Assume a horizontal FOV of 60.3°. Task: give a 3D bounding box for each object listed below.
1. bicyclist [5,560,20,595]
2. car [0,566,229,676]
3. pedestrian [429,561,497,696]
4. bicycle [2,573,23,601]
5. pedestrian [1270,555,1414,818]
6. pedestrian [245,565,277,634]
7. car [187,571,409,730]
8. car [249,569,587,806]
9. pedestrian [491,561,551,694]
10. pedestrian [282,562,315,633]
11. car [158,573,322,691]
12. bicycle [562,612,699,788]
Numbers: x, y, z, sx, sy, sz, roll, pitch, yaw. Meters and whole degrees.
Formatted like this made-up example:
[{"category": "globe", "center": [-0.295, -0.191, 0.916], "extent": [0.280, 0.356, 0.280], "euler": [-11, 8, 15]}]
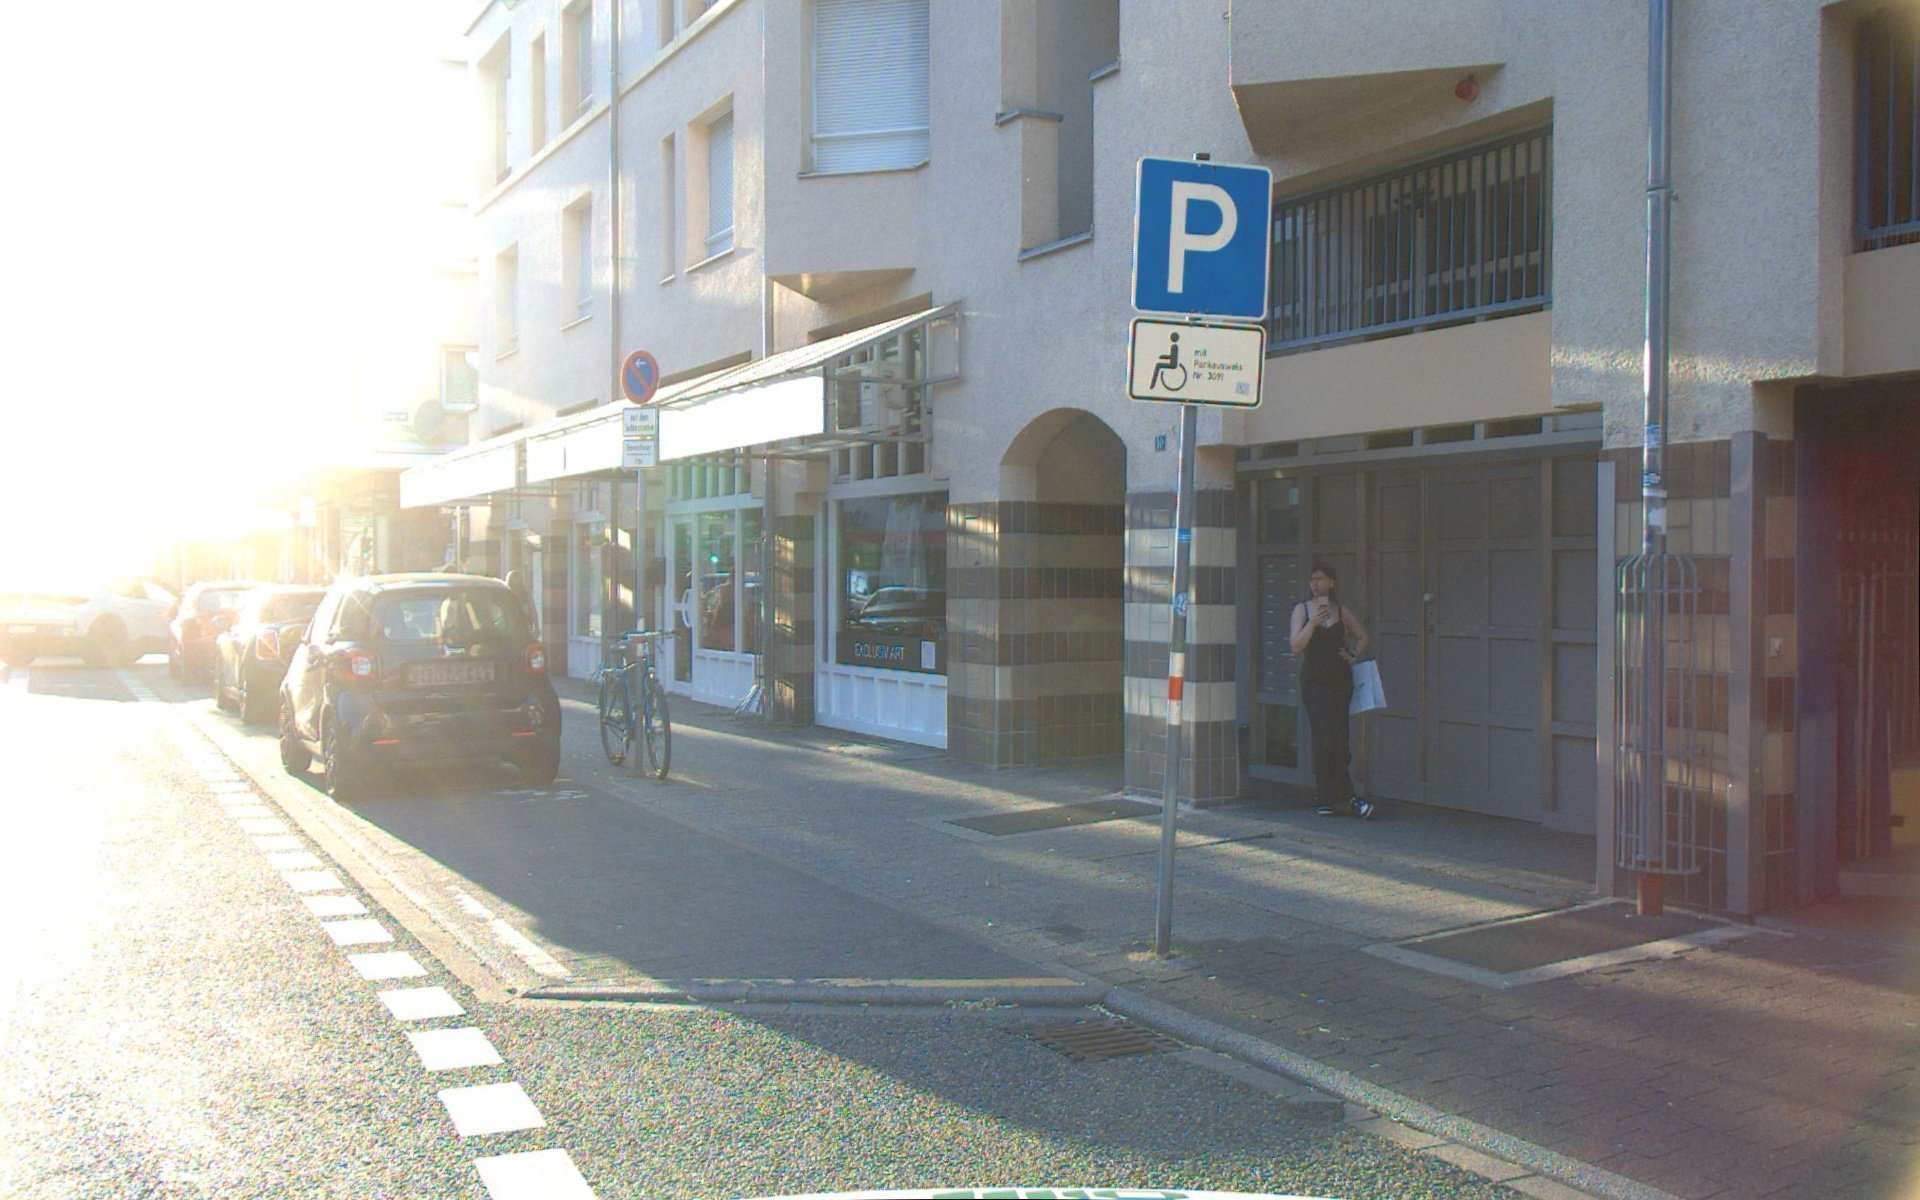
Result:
[{"category": "bicyclist", "center": [-43.289, -1.030, 75.554], "extent": [0.540, 1.608, 0.796], "euler": [-1, 1, -27]}, {"category": "car", "center": [-14.730, 0.333, 28.608], "extent": [1.833, 1.727, 4.324], "euler": [1, 0, 6]}, {"category": "pedestrian", "center": [-6.530, 0.355, 21.722], "extent": [0.623, 1.729, 1.030], "euler": [-1, 1, -30]}, {"category": "bicycle", "center": [-43.226, -0.607, 75.492], "extent": [0.655, 1.264, 2.112], "euler": [2, 0, -26]}, {"category": "pedestrian", "center": [2.373, 0.523, 10.333], "extent": [0.760, 1.600, 0.533], "euler": [0, 1, -3]}, {"category": "pedestrian", "center": [-18.788, -0.012, 44.474], "extent": [0.710, 1.822, 0.660], "euler": [-1, 1, -29]}, {"category": "car", "center": [-7.635, 0.481, 18.884], "extent": [1.772, 1.607, 3.746], "euler": [0, 1, -31]}, {"category": "car", "center": [-4.517, 0.559, 13.402], "extent": [1.772, 1.607, 3.924], "euler": [0, 1, -31]}, {"category": "pedestrian", "center": [-5.819, 0.348, 21.911], "extent": [0.553, 1.729, 0.823], "euler": [-1, 1, -30]}, {"category": "pedestrian", "center": [-17.280, -0.065, 43.206], "extent": [0.710, 1.822, 0.660], "euler": [-1, 1, -29]}, {"category": "car", "center": [-10.854, 0.407, 24.805], "extent": [1.772, 1.607, 3.746], "euler": [0, 1, -31]}, {"category": "bicycle", "center": [-2.613, 0.730, 12.974], "extent": [0.552, 1.227, 1.960], "euler": [0, 1, -27]}]
